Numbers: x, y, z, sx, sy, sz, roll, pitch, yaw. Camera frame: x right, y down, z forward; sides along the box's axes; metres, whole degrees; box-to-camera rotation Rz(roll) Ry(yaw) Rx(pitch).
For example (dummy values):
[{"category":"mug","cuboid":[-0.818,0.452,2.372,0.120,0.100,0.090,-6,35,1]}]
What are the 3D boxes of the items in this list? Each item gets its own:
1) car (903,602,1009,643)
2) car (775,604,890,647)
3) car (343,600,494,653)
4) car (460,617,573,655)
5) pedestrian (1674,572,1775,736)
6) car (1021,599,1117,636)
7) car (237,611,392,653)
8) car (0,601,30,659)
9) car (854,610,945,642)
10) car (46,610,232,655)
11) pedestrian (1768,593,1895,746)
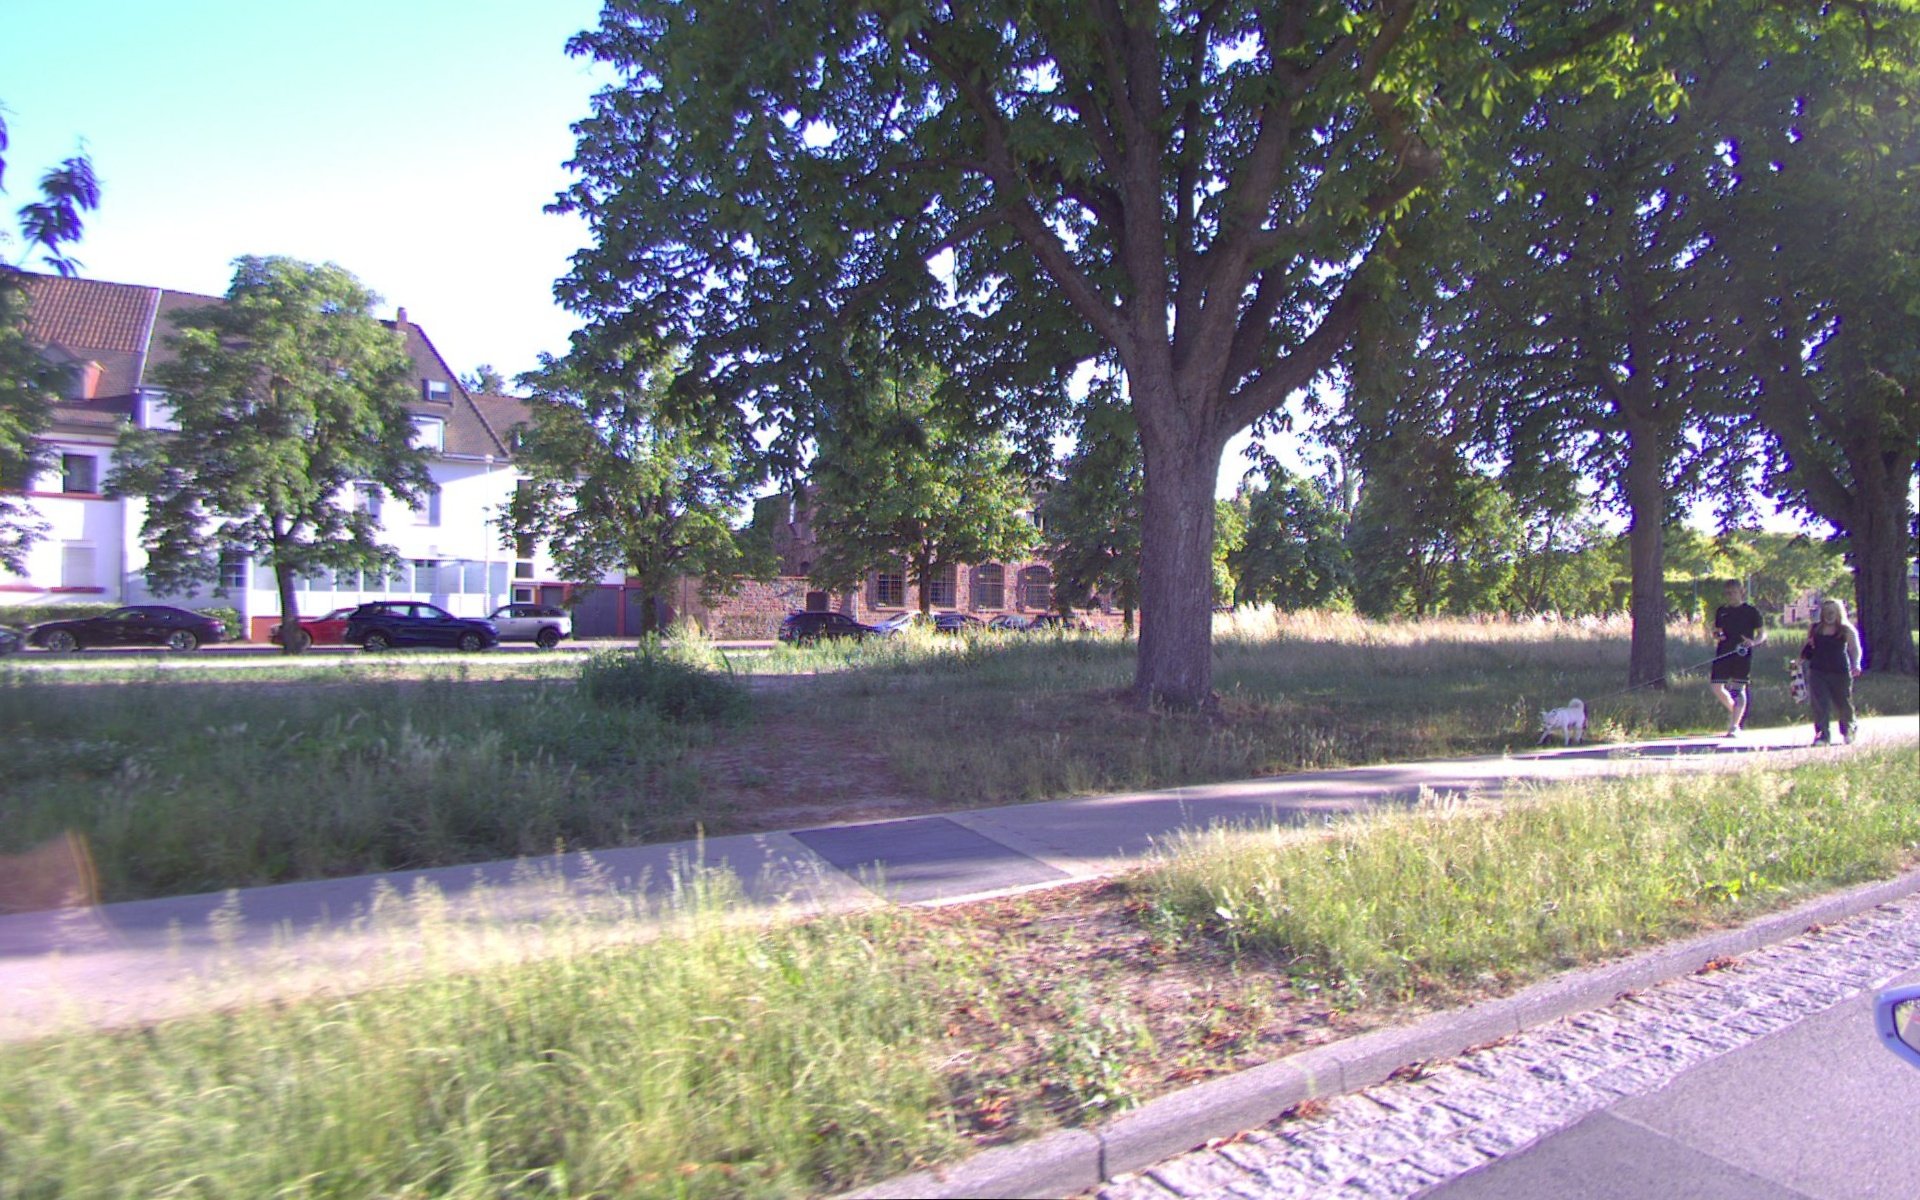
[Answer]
[{"category":"car","cuboid":[-0.154,0.928,42.214,4.173,1.619,1.684,1,0,-31]},{"category":"car","cuboid":[-4.956,0.976,39.272,4.173,1.619,1.684,1,0,-31]},{"category":"car","cuboid":[-17.303,0.821,32.189,4.173,1.619,1.684,1,0,-31]},{"category":"car","cuboid":[-16.871,1.369,38.220,3.805,1.350,1.563,1,0,-29]},{"category":"pedestrian","cuboid":[8.992,0.617,11.821,0.874,1.855,0.622,0,0,-27]},{"category":"car","cuboid":[4.966,0.806,45.700,4.173,1.619,1.684,1,0,-31]},{"category":"car","cuboid":[-22.319,1.095,34.951,4.424,1.350,1.563,1,0,-29]},{"category":"car","cuboid":[-27.229,0.769,26.123,4.174,1.496,1.683,1,0,-32]},{"category":"car","cuboid":[-2.798,1.181,46.889,3.953,1.424,1.621,1,0,-31]},{"category":"car","cuboid":[-26.448,1.038,32.550,4.426,1.350,1.563,1,0,-29]},{"category":"pedestrian","cuboid":[9.777,0.746,11.279,0.939,1.636,0.780,0,0,-27]}]
